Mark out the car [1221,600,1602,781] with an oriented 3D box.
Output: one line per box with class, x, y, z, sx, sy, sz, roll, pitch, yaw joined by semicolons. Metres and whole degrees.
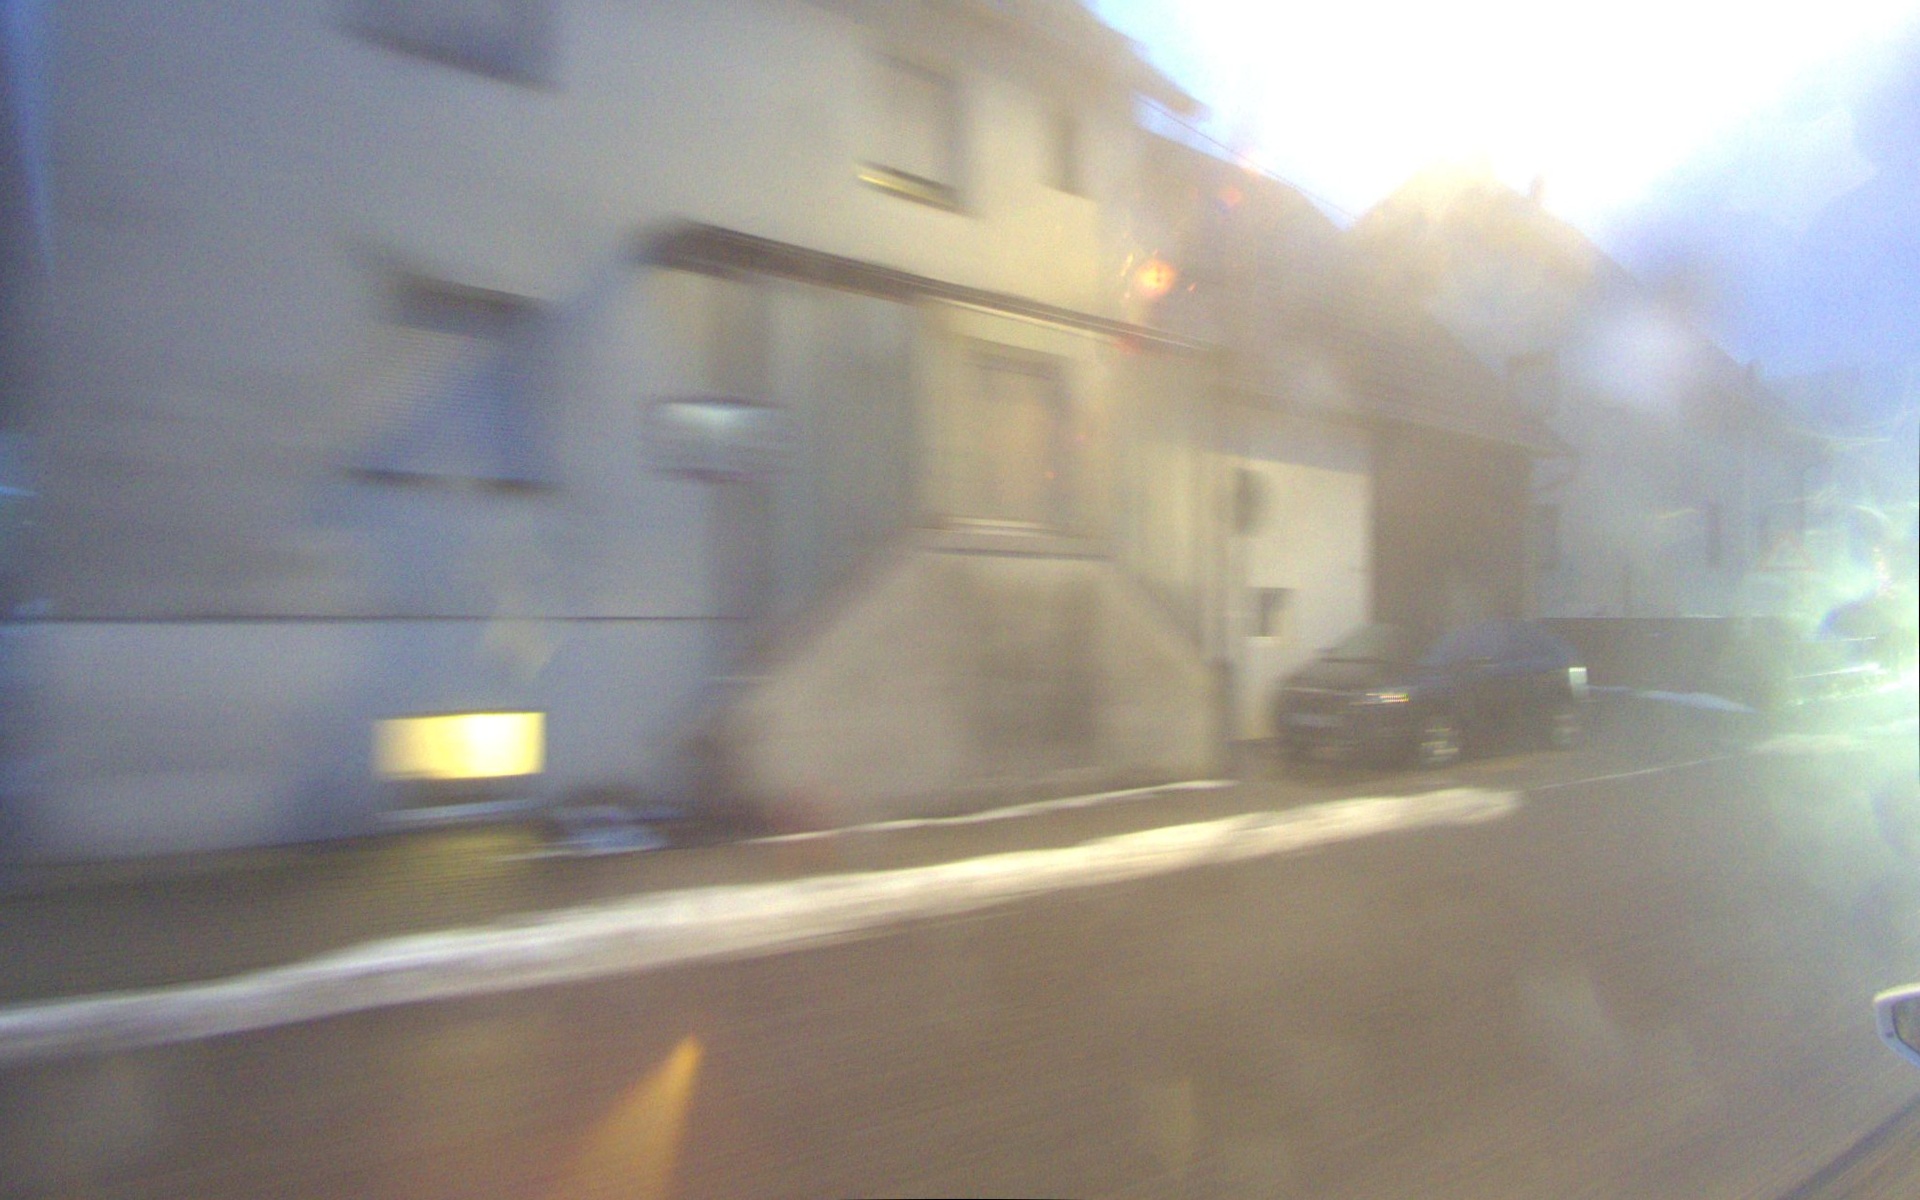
car;4.990;0.814;10.933;4.150;1.543;1.979;0;2;-36
